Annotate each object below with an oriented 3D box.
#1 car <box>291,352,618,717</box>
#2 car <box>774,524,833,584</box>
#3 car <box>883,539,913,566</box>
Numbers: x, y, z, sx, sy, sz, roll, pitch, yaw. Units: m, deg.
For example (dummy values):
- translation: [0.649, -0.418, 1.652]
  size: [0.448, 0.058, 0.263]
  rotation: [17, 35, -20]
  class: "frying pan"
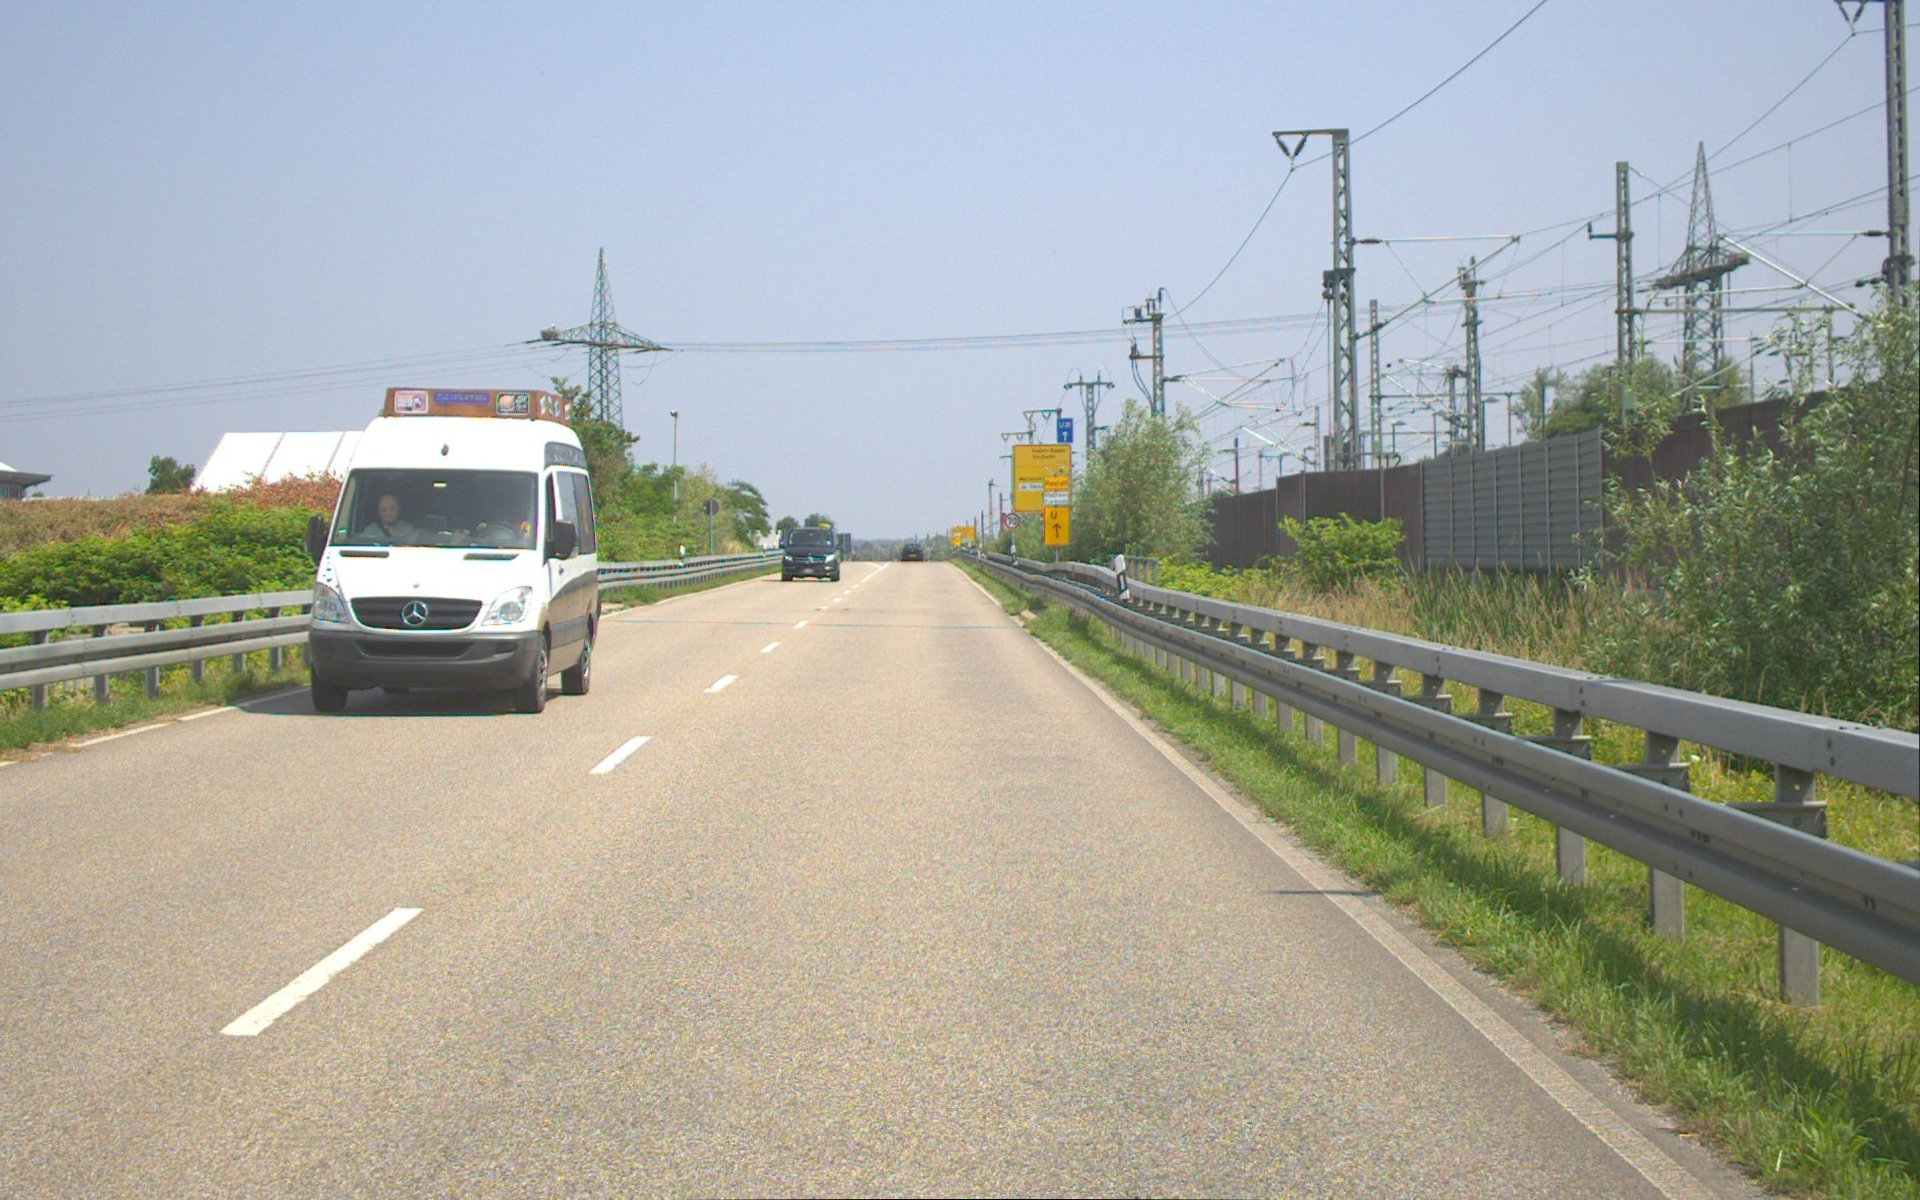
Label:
- translation: [-4.478, -0.590, 31.554]
  size: [2.079, 2.952, 6.730]
  rotation: [1, 1, -1]
  class: "car"
- translation: [-5.398, -1.599, 119.178]
  size: [1.893, 2.007, 5.370]
  rotation: [1, 1, -1]
  class: "car"
- translation: [-4.739, -3.609, 262.088]
  size: [1.993, 2.007, 4.001]
  rotation: [0, 1, -4]
  class: "car"
